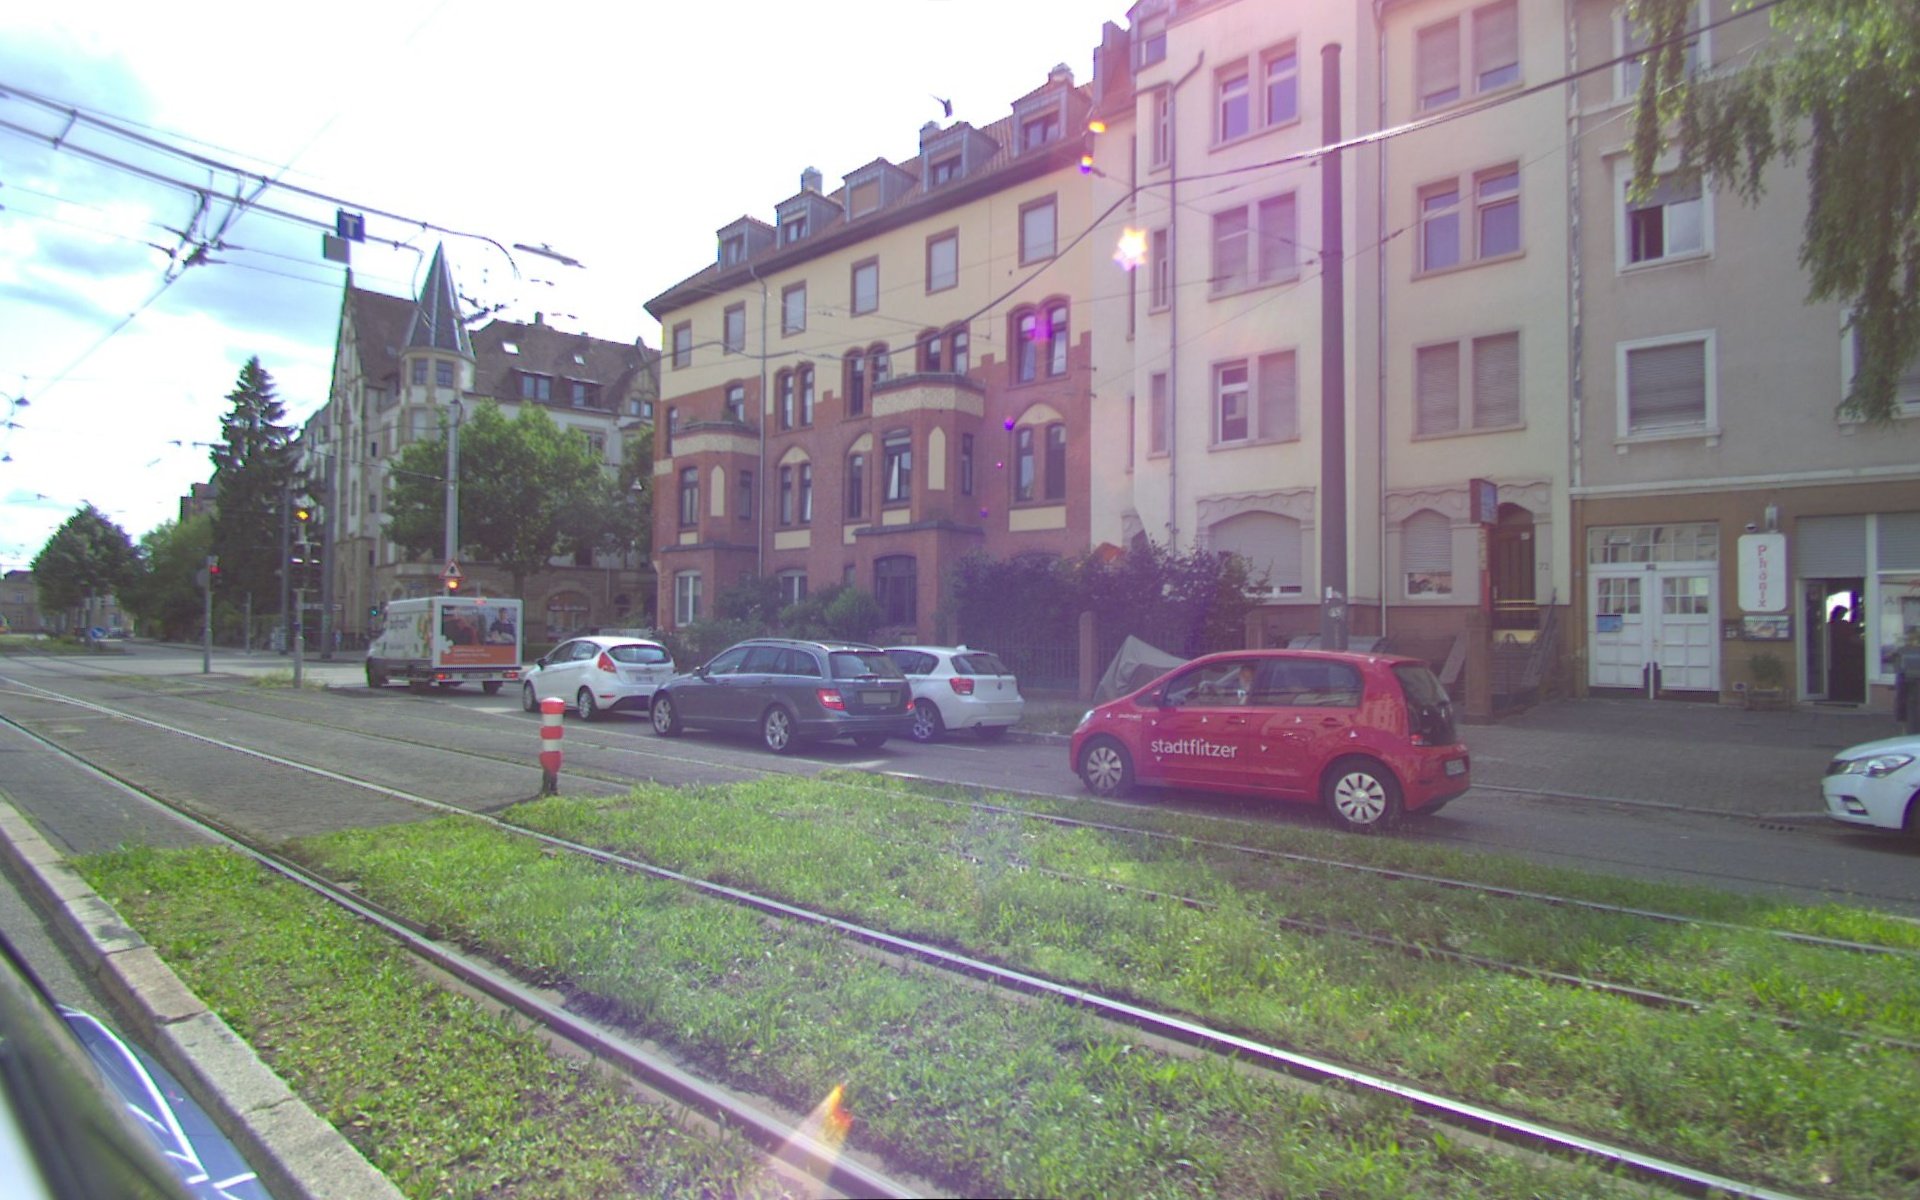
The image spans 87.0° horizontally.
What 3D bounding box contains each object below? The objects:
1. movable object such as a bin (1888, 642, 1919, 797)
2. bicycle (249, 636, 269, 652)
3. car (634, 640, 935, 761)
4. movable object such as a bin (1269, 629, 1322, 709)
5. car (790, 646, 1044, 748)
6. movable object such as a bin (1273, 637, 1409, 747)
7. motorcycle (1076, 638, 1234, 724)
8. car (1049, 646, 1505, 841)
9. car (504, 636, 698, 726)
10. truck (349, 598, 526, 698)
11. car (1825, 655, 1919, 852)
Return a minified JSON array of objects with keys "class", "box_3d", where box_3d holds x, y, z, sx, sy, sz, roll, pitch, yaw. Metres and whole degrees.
[{"class":"movable object such as a bin","box_3d":[9.959,1.151,9.681,1.521,1.440,0.941,-2,-1,41]},{"class":"bicycle","box_3d":[-44.474,2.810,64.195,0.616,0.979,2.337,3,-3,-45]},{"class":"car","box_3d":[-2.579,1.297,14.118,4.512,1.366,1.736,-1,-4,43]},{"class":"movable object such as a bin","box_3d":[5.913,1.197,17.837,0.698,1.372,0.666,-2,-3,38]},{"class":"car","box_3d":[-0.776,1.440,16.080,3.995,1.366,1.736,-1,-3,43]},{"class":"movable object such as a bin","box_3d":[5.363,1.254,14.259,1.521,1.377,0.941,-2,2,41]},{"class":"motorcycle","box_3d":[3.037,1.232,15.917,2.290,1.252,0.892,-1,-3,36]},{"class":"car","box_3d":[2.767,1.148,9.312,3.692,1.397,1.562,-2,-3,42]},{"class":"car","box_3d":[-6.650,1.423,18.530,1.734,1.425,4.137,5,-4,-44]},{"class":"truck","box_3d":[-13.483,1.200,25.849,2.159,2.231,6.617,3,-4,-44]},{"class":"car","box_3d":[9.032,1.191,7.271,4.225,1.489,1.627,-2,-4,42]}]
